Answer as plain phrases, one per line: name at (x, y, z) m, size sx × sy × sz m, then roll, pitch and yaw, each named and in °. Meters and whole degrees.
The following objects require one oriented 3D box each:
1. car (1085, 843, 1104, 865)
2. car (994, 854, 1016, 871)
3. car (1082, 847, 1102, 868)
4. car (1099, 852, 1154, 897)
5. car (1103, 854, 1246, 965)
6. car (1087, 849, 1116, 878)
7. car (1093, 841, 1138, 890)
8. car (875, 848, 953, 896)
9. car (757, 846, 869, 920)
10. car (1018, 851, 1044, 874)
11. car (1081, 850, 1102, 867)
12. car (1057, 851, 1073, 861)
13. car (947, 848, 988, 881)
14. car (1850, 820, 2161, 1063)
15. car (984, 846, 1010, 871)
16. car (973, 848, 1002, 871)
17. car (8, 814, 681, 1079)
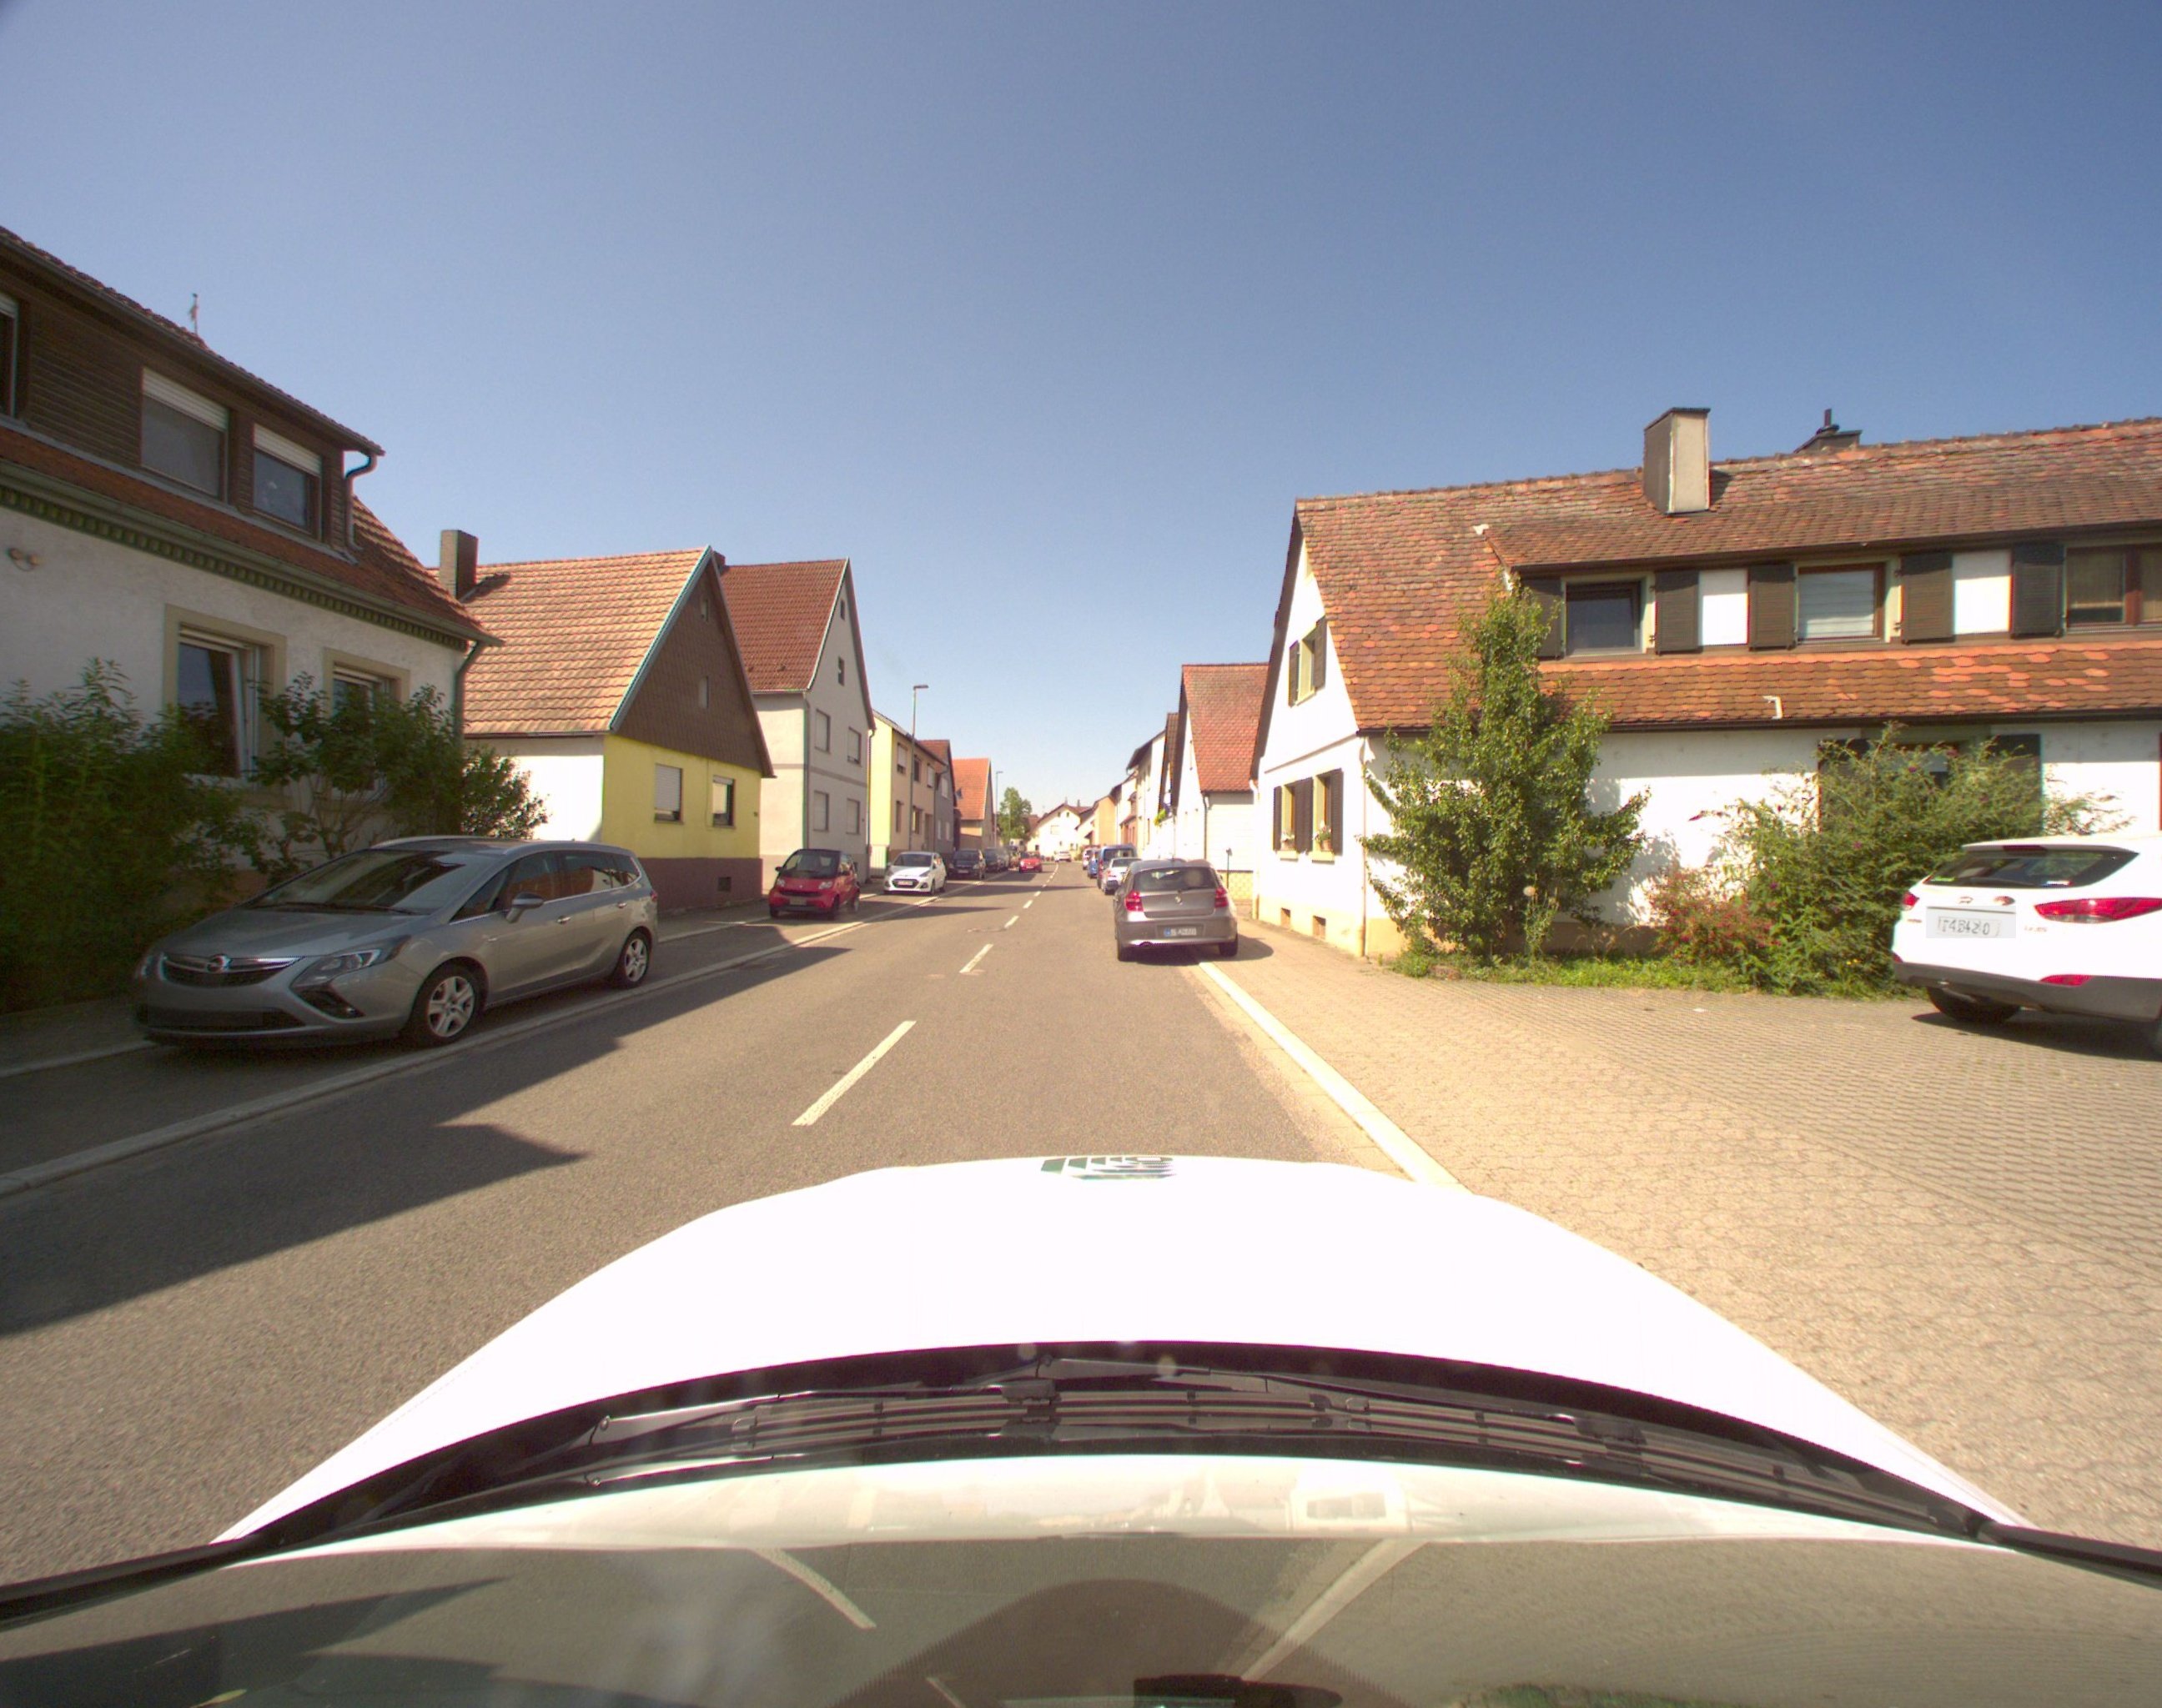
car at (1.229, -0.008, 76.085) m, size 1.761 × 2.004 × 3.449 m, roll 0°, pitch -1°, yaw 0°
car at (-6.336, 0.686, 68.493) m, size 1.523 × 1.356 × 3.624 m, roll 2°, pitch 0°, yaw -1°
car at (0.807, 0.282, 62.919) m, size 1.416 × 1.515 × 3.302 m, roll 2°, pitch 0°, yaw -1°
car at (1.582, 0.695, 29.279) m, size 1.699 × 1.496 × 3.450 m, roll 2°, pitch 0°, yaw -1°
car at (1.297, 0.739, 12.766) m, size 1.700 × 1.433 × 3.887 m, roll -2°, pitch 0°, yaw -1°
car at (1.124, 0.513, 45.467) m, size 1.416 × 1.515 × 3.302 m, roll 2°, pitch 0°, yaw -1°
car at (1.393, 0.447, 34.337) m, size 1.644 × 1.910 × 3.624 m, roll 2°, pitch 0°, yaw -1°
car at (-5.871, 0.611, 29.119) m, size 1.800 × 1.548 × 4.404 m, roll 2°, pitch 0°, yaw 1°
car at (-6.151, 0.633, 19.032) m, size 1.547 × 1.544 × 2.988 m, roll 2°, pitch 0°, yaw 0°
car at (-3.498, 0.582, 57.306) m, size 1.596 × 1.489 × 3.624 m, roll 2°, pitch 0°, yaw -1°
car at (0.899, 0.379, 70.737) m, size 1.761 × 1.433 × 3.449 m, roll 0°, pitch -1°, yaw 0°
car at (-2.043, 0.258, 103.622) m, size 1.987 × 1.288 × 3.998 m, roll 0°, pitch -1°, yaw -1°
car at (-5.870, 0.535, 42.594) m, size 1.614 × 1.577 × 3.959 m, roll 2°, pitch 0°, yaw -1°
car at (8.978, 0.609, 6.319) m, size 4.154 × 1.657 × 1.815 m, roll 0°, pitch -1°, yaw 5°
car at (-6.008, 0.307, 58.833) m, size 1.523 × 1.713 × 3.624 m, roll 2°, pitch 0°, yaw -1°
car at (-6.232, 0.380, 54.415) m, size 1.499 × 1.453 × 3.508 m, roll 0°, pitch -1°, yaw 0°
car at (-5.832, 0.596, 7.520) m, size 1.866 × 1.636 × 4.664 m, roll 2°, pitch 0°, yaw 1°
